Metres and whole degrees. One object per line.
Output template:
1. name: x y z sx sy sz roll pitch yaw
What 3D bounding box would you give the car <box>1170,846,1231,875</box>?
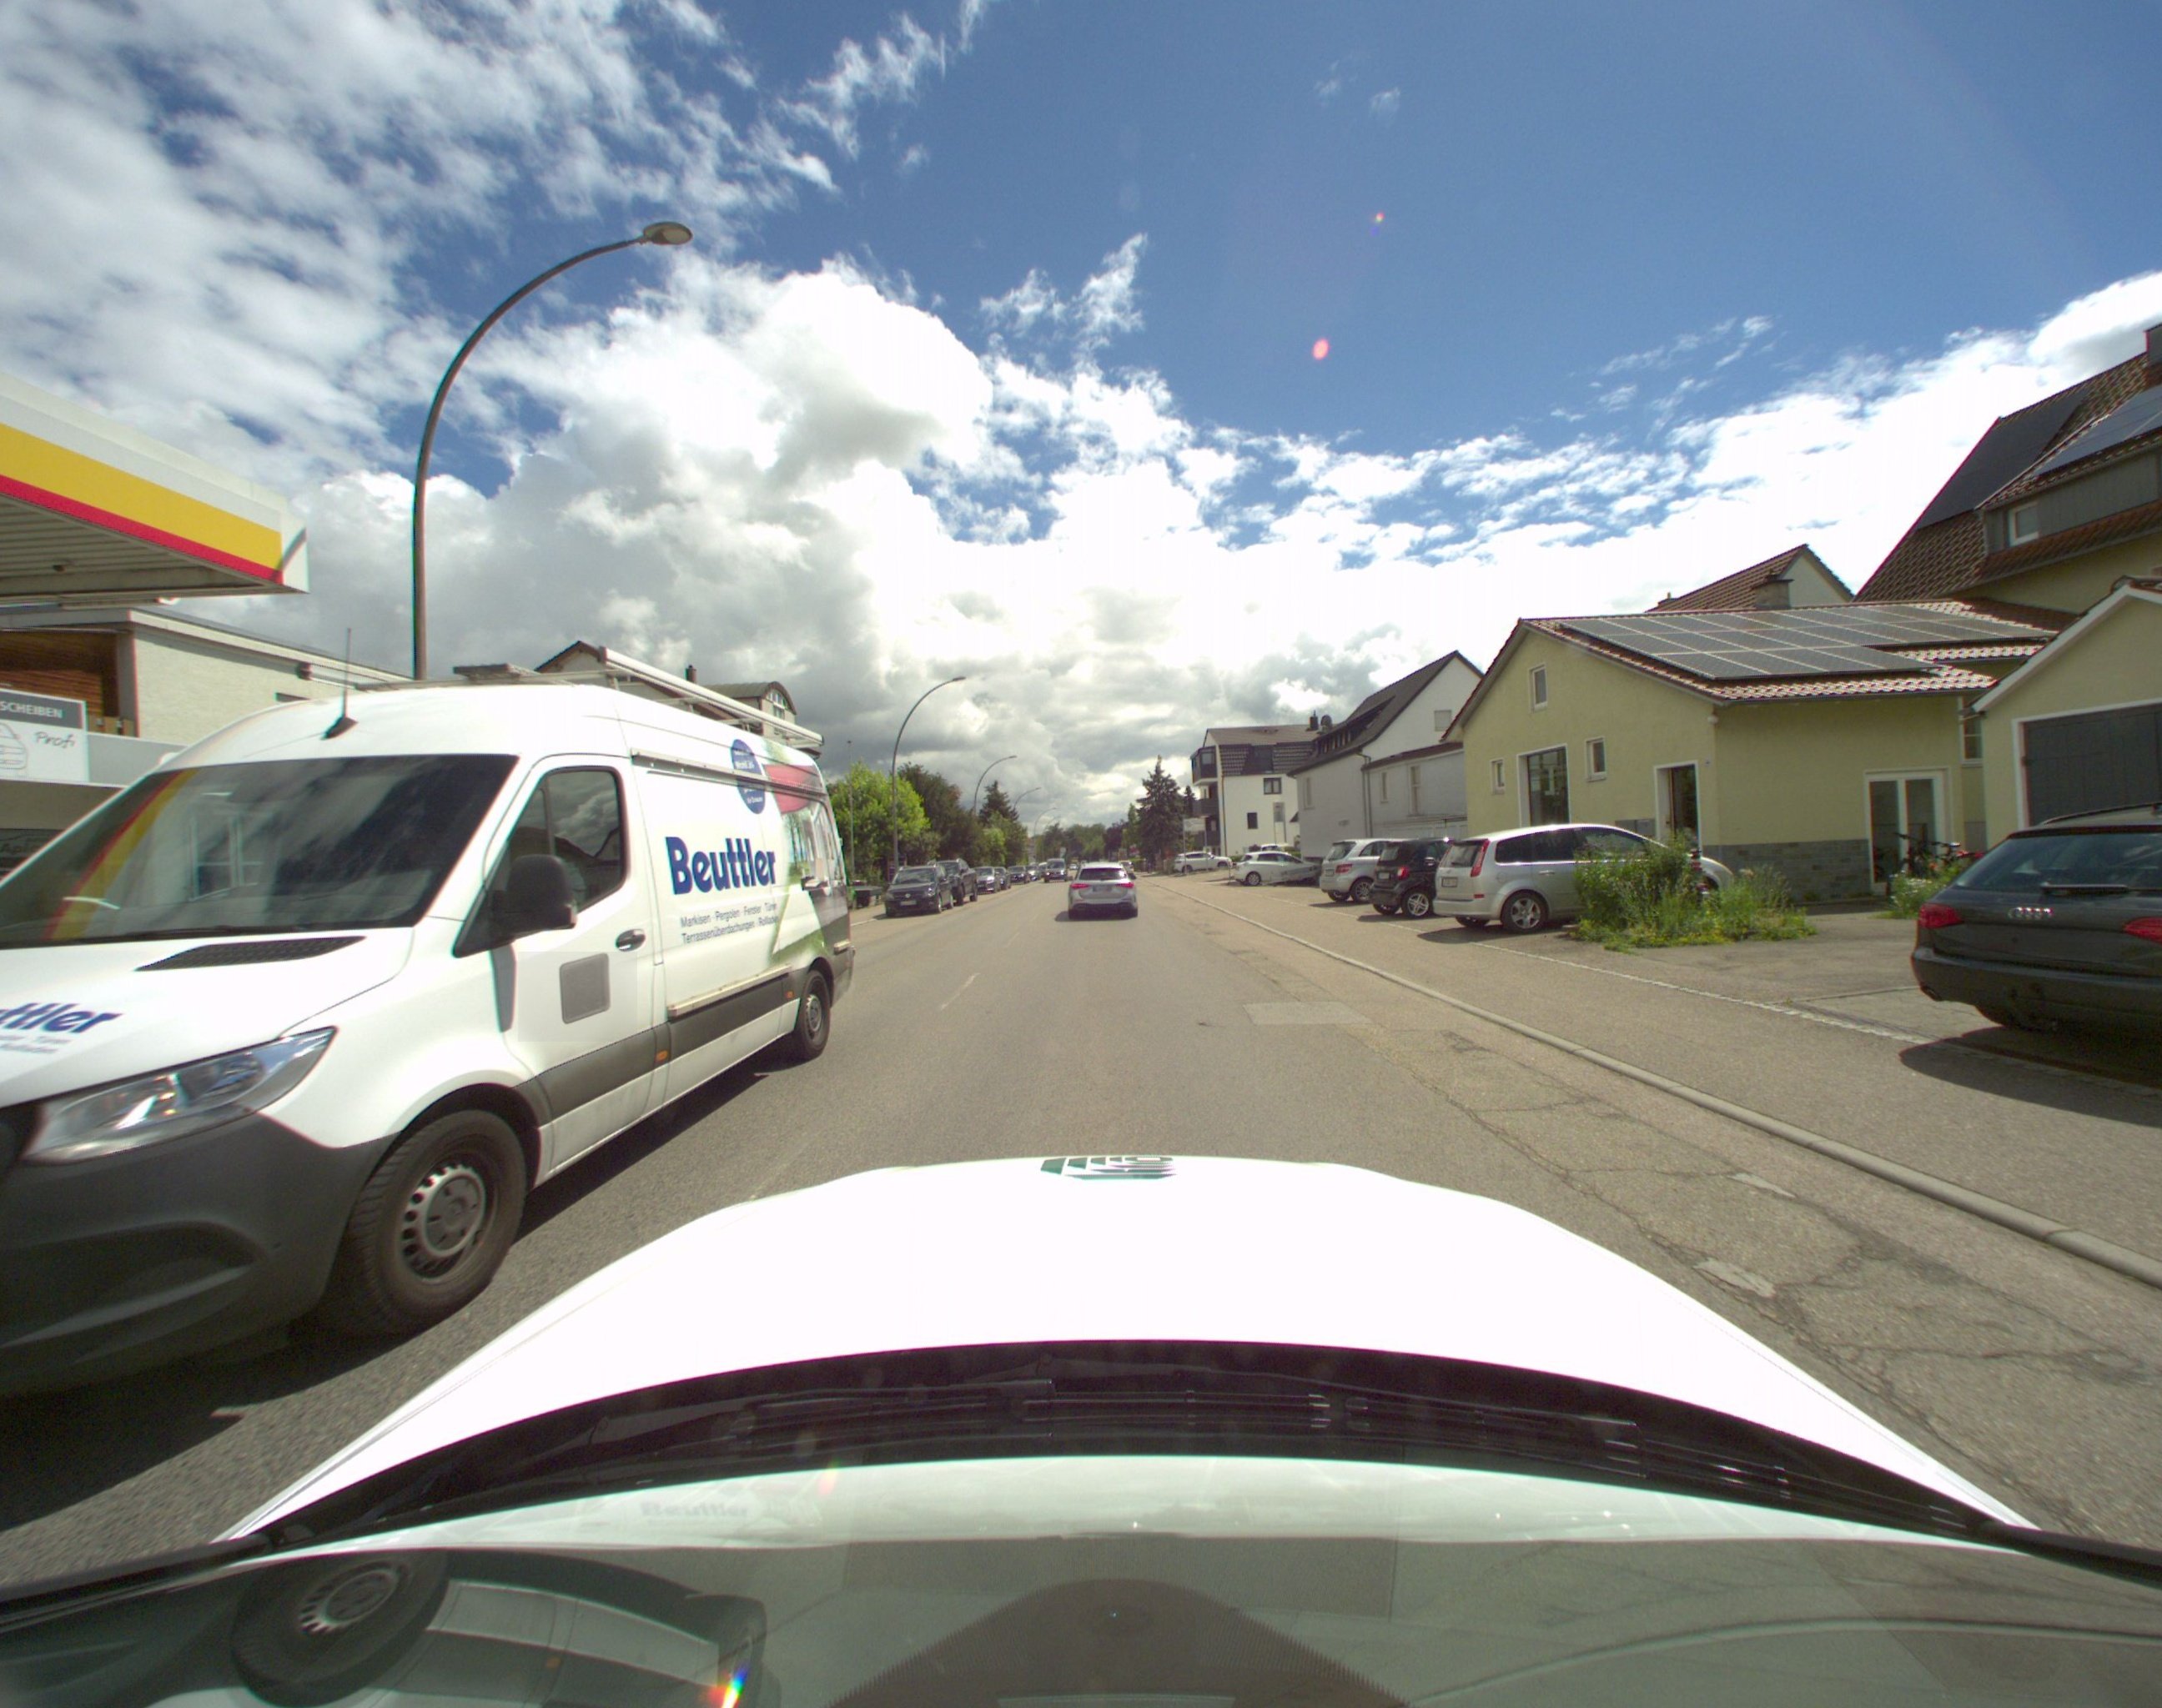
1. car: 8.943 0.485 60.986 4.179 1.654 1.867 -6 -1 0

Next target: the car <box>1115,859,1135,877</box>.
1. car: 4.051 1.263 74.681 1.712 1.432 3.987 -4 0 3

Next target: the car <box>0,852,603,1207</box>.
1. car: -5.832 0.955 6.191 1.723 1.737 4.190 -6 0 1

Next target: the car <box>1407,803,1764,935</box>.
1. car: 7.827 0.223 12.946 4.397 1.525 1.973 -5 0 -3

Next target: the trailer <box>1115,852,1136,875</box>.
1. trailer: 4.347 0.935 80.364 1.767 2.145 4.114 -3 -1 0

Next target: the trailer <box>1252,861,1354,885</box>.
1. trailer: 9.329 0.788 34.371 3.805 0.808 1.656 -3 0 -1

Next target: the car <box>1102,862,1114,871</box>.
1. car: 5.025 2.259 151.514 1.933 1.571 4.449 -3 -1 3

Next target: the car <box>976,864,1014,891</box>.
1. car: -5.166 1.383 49.544 1.657 1.435 4.338 -5 0 1

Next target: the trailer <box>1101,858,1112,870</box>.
1. trailer: 5.141 1.931 162.728 1.935 2.294 4.444 -3 -1 0

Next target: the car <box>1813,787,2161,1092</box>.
1. car: 7.373 0.257 4.784 4.397 1.407 1.973 -5 0 -3

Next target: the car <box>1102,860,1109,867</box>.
1. car: 7.843 3.004 257.501 2.136 1.984 5.262 -3 -1 1

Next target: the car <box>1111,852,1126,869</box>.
1. car: 4.851 0.878 105.484 1.867 2.169 4.465 -1 -1 1

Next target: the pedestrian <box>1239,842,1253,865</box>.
1. pedestrian: 11.464 -0.021 56.717 0.760 1.528 0.782 -5 -1 6

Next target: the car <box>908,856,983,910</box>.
1. car: -5.419 1.114 33.343 1.904 1.821 5.430 -6 0 1

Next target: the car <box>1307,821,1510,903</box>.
1. car: 8.407 0.199 21.173 4.397 1.608 1.973 -5 0 -3

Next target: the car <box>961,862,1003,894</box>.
1. car: -5.386 1.277 44.600 1.657 1.511 3.945 -5 0 1

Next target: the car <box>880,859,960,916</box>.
1. car: -5.404 1.067 27.874 1.657 1.680 4.526 -4 0 1

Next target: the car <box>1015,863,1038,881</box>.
1. car: -4.773 1.578 72.040 1.714 1.432 4.197 -4 0 -1

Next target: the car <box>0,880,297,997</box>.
1. car: -16.177 1.406 13.592 4.438 1.611 1.951 -1 -5 -45

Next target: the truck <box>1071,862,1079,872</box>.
1. truck: -1.805 4.028 255.624 2.067 2.814 7.081 -4 -1 2

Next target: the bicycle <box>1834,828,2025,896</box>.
1. bicycle: 14.263 0.130 13.721 2.563 1.014 0.705 -3 -1 -3

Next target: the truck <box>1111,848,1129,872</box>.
1. truck: 5.318 0.783 110.996 2.312 3.097 6.043 -1 -1 1

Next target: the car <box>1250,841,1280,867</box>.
1. car: 12.718 -0.025 56.444 1.622 1.519 3.673 -6 1 8

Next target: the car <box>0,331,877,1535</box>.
1. car: -3.142 0.243 4.962 1.986 2.765 6.164 -4 0 1

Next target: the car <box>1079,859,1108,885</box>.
1. car: 0.790 1.129 52.837 1.750 1.558 4.000 -2 -1 0

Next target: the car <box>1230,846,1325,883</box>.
1. car: 8.922 0.478 37.137 3.887 1.608 1.748 -1 0 -1

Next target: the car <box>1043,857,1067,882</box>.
1. car: -2.007 1.188 63.230 1.657 1.796 4.337 -4 0 0

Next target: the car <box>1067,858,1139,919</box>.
1. car: 0.527 0.876 22.539 1.779 1.484 4.314 -1 -1 -1

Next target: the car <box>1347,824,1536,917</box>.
1. car: 7.303 0.331 16.723 2.881 1.525 1.973 -5 0 -3

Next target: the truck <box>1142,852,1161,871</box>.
1. truck: 8.936 0.949 103.792 1.823 2.081 5.385 -6 1 0

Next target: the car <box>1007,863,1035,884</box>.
1. car: -4.574 1.440 62.476 1.657 1.414 4.338 -4 0 1

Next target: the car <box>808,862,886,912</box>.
1. car: -9.200 1.242 32.386 1.786 1.785 4.337 -2 0 0
